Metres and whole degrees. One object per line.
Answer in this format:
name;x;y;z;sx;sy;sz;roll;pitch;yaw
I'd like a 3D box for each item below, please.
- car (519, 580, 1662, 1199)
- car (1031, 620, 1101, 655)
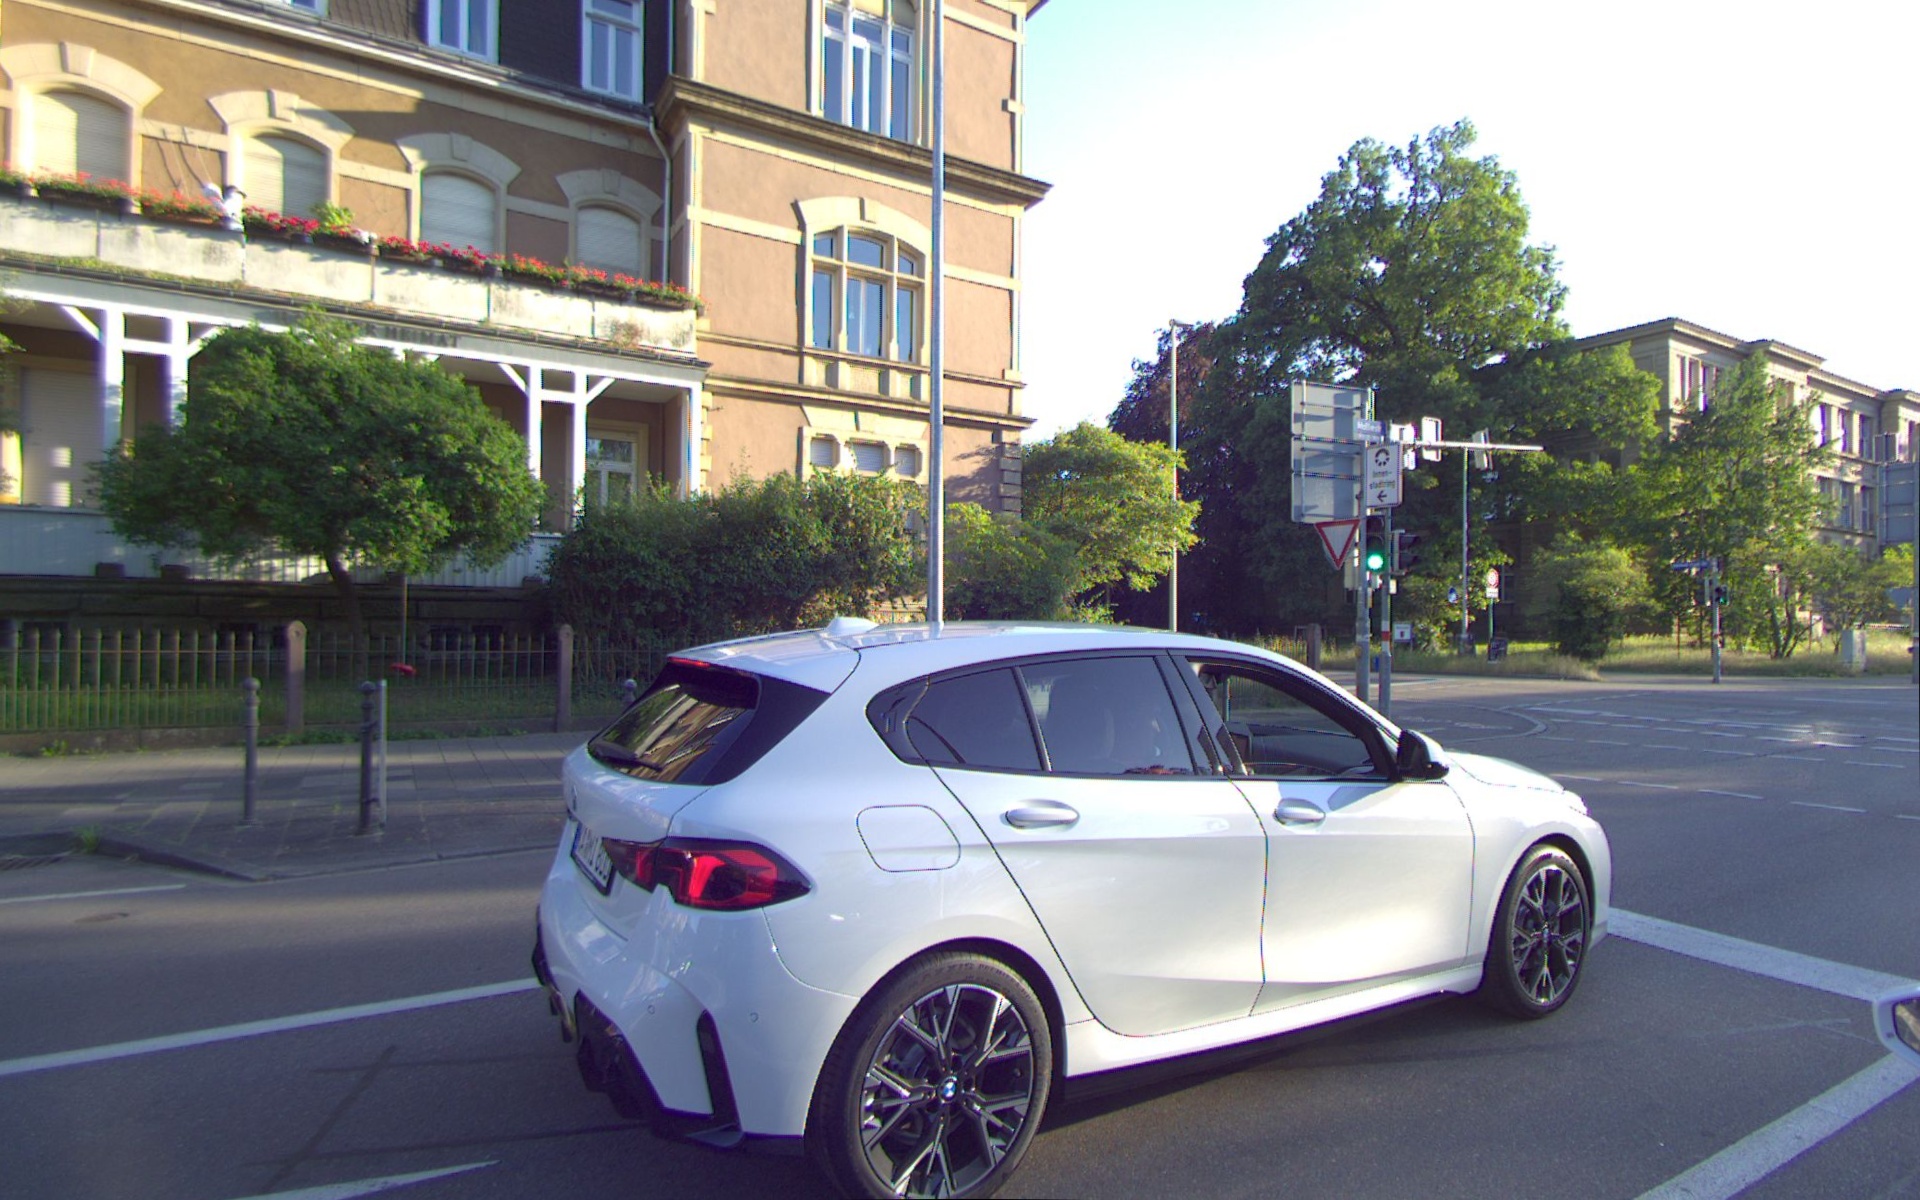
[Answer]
car;0.688;0.767;3.813;4.141;1.485;1.743;1;-2;-31
car;5.843;2.072;55.797;1.841;1.870;4.087;1;-2;-30
